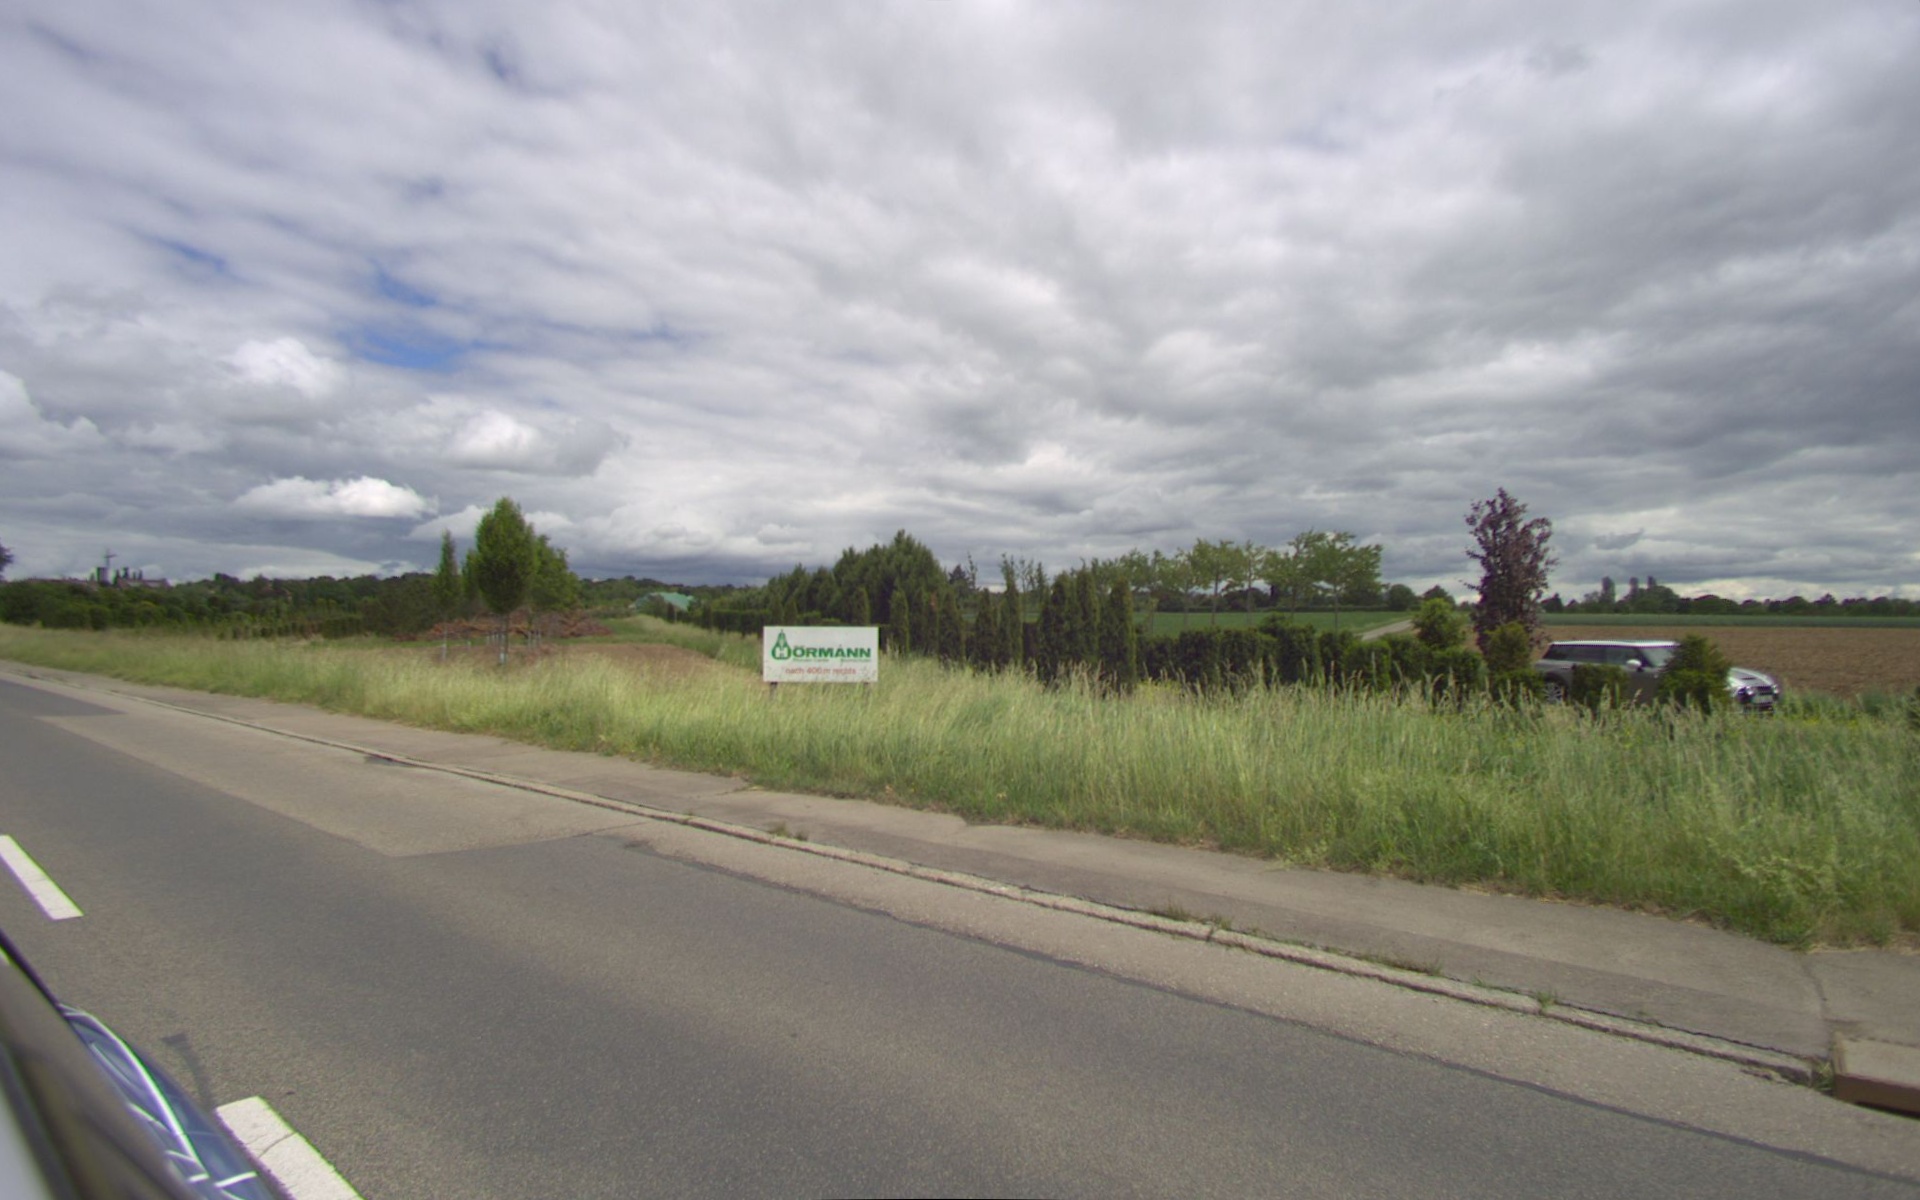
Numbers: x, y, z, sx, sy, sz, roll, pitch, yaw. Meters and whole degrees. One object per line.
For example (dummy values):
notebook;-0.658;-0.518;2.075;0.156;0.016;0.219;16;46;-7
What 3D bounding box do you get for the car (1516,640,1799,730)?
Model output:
car;13.070;1.517;19.271;1.941;1.465;4.013;1;-2;-22
